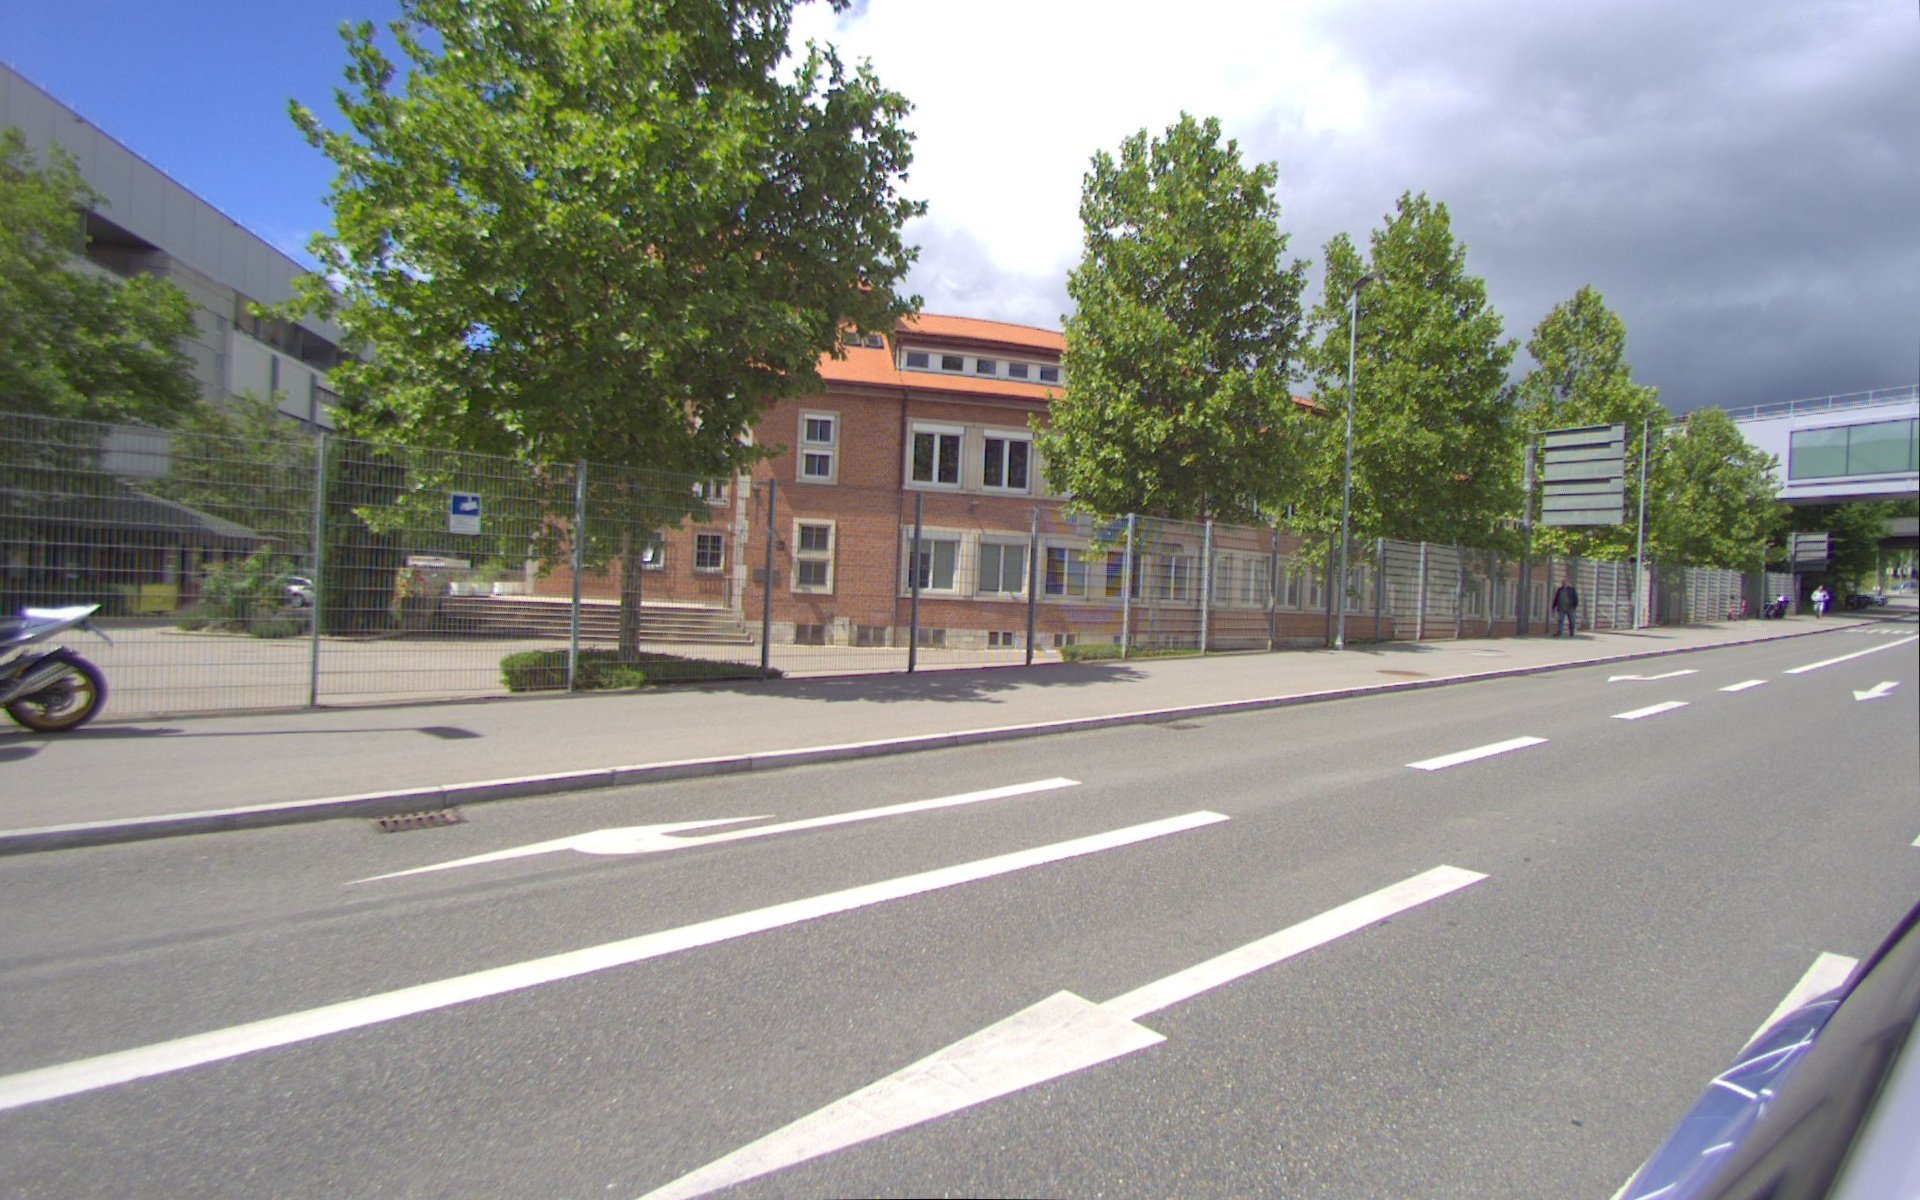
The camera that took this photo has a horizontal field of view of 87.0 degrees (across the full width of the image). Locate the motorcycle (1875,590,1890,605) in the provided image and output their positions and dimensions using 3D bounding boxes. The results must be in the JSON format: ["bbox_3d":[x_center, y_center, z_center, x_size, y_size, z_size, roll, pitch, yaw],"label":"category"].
[{"bbox_3d":[74.149,-0.205,81.337,2.144,1.096,0.679,-1,2,-43],"label":"motorcycle"}]

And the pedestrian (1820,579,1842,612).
[{"bbox_3d":[51.009,-0.257,59.267,1.078,1.911,0.790,0,2,-43],"label":"pedestrian"}]

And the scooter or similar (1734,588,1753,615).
[{"bbox_3d":[39.007,0.074,50.374,1.314,1.310,0.492,0,3,-42],"label":"scooter or similar"}]

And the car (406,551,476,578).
[{"bbox_3d":[-35.904,-2.466,70.156,3.916,1.805,2.004,-1,1,-13],"label":"car"}]

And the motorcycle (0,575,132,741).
[{"bbox_3d":[-7.391,0.413,7.318,0.693,1.172,2.113,4,3,44],"label":"motorcycle"}]

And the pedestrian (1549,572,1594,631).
[{"bbox_3d":[18.932,0.032,31.356,0.924,1.764,0.879,0,3,-42],"label":"pedestrian"}]

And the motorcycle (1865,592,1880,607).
[{"bbox_3d":[71.339,-0.042,79.133,2.004,1.096,0.678,-1,2,-44],"label":"motorcycle"}]

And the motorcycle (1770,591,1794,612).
[{"bbox_3d":[44.522,0.092,54.807,2.209,1.077,0.669,0,4,-43],"label":"motorcycle"}]

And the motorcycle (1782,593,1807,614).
[{"bbox_3d":[46.848,0.178,56.819,2.467,1.077,0.709,-1,4,-43],"label":"motorcycle"}]

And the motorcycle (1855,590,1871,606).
[{"bbox_3d":[68.457,-0.136,76.715,2.076,1.168,0.679,0,2,-41],"label":"motorcycle"}]
